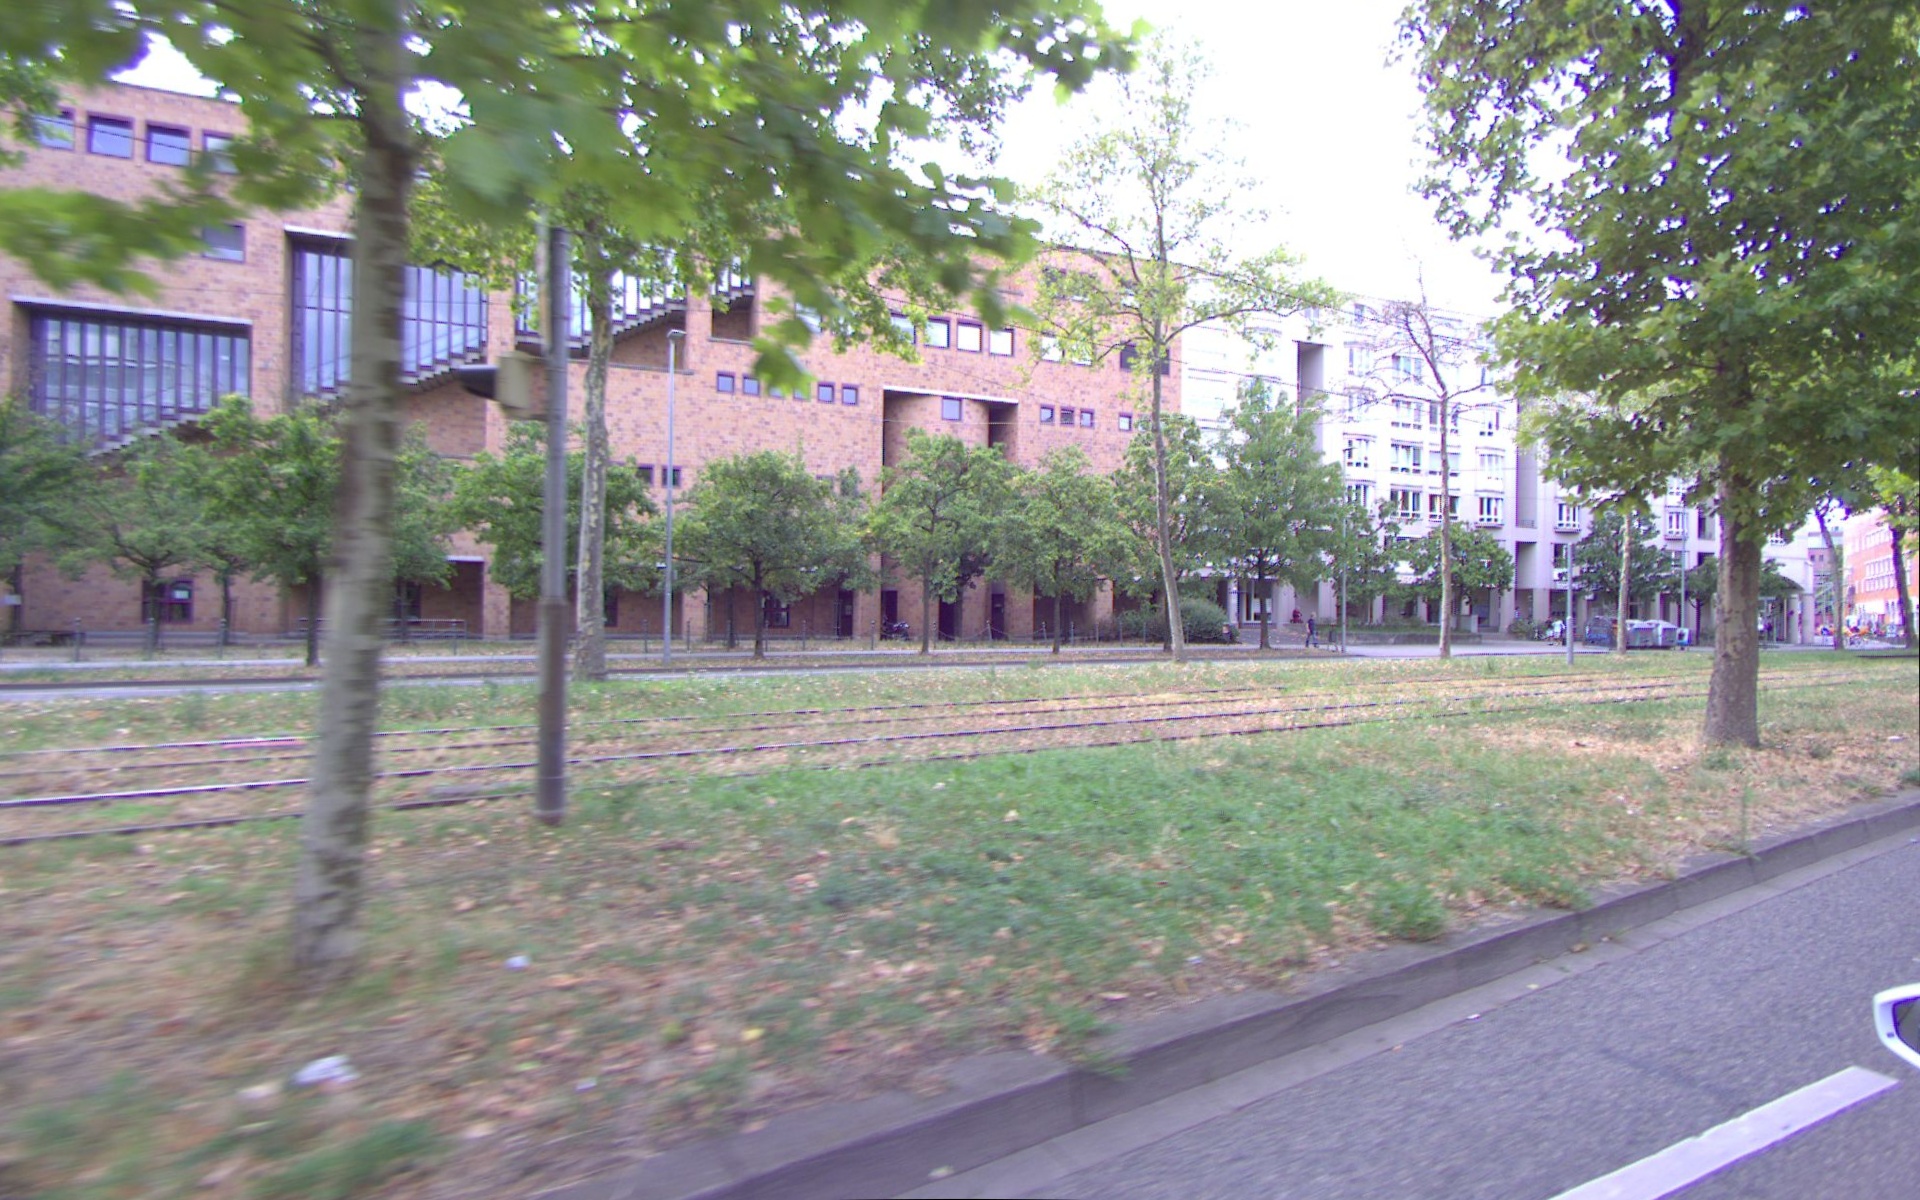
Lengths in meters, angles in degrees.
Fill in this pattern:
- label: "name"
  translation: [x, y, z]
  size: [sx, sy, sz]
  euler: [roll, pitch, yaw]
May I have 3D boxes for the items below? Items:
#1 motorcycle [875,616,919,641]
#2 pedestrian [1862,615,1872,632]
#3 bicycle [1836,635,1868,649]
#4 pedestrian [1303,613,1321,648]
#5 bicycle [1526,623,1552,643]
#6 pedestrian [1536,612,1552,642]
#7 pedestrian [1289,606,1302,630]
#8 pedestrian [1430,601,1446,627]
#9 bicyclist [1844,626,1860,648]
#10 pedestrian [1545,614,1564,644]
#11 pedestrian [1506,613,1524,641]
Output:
- label: "motorcycle"
  translation: [-3.142, 1.387, 49.825]
  size: [2.160, 1.207, 0.795]
  euler: [0, -1, 35]
- label: "pedestrian"
  translation: [97.599, 2.517, 108.053]
  size: [0.682, 1.841, 0.654]
  euler: [1, -1, 31]
- label: "bicycle"
  translation: [71.494, 3.349, 80.487]
  size: [1.840, 1.106, 0.578]
  euler: [1, 0, 21]
- label: "pedestrian"
  translation: [17.080, 1.477, 48.791]
  size: [0.618, 1.728, 0.550]
  euler: [1, 0, -29]
- label: "bicycle"
  translation: [36.868, 2.106, 63.984]
  size: [1.815, 1.228, 0.532]
  euler: [1, -1, -26]
- label: "pedestrian"
  translation: [33.743, 1.564, 58.071]
  size: [0.618, 1.728, 0.550]
  euler: [1, 0, -29]
- label: "pedestrian"
  translation: [19.393, 1.046, 58.074]
  size: [0.546, 1.340, 0.456]
  euler: [1, 0, -22]
- label: "pedestrian"
  translation: [31.516, 0.922, 66.223]
  size: [0.650, 1.694, 0.635]
  euler: [1, 0, -24]
- label: "bicyclist"
  translation: [71.496, 2.952, 80.504]
  size: [0.769, 1.695, 0.573]
  euler: [1, 0, 21]
- label: "pedestrian"
  translation: [34.068, 1.653, 57.561]
  size: [0.873, 1.728, 0.550]
  euler: [1, 0, -29]
- label: "pedestrian"
  translation: [36.395, 1.785, 65.897]
  size: [0.683, 1.833, 0.768]
  euler: [1, -1, -23]
